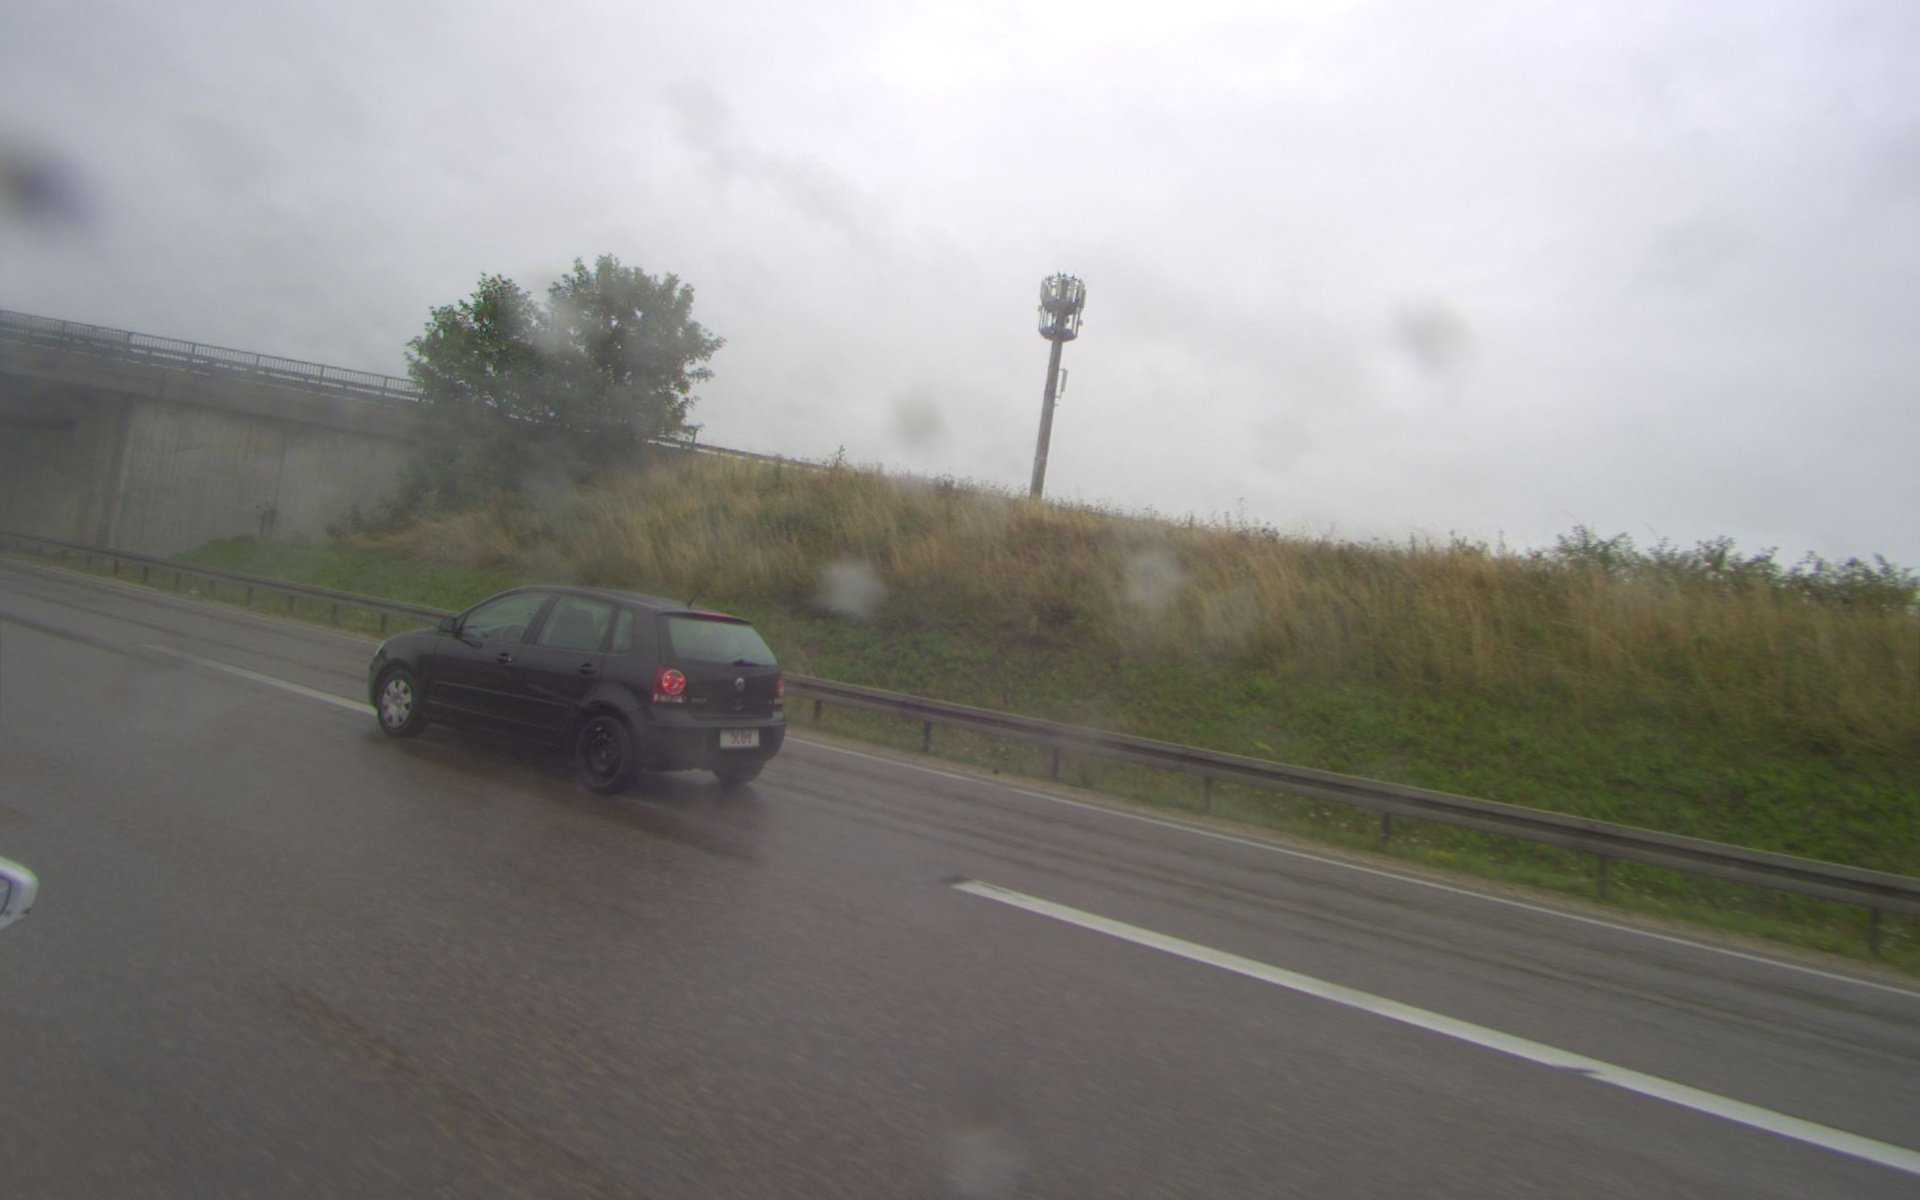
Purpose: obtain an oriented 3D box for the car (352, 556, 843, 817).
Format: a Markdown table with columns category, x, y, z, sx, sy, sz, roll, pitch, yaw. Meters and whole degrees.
| category | x | y | z | sx | sy | sz | roll | pitch | yaw |
| --- | --- | --- | --- | --- | --- | --- | --- | --- | --- |
| car | -3.012 | 0.620 | 8.286 | 3.595 | 1.437 | 1.736 | 7 | -2 | 29 |
